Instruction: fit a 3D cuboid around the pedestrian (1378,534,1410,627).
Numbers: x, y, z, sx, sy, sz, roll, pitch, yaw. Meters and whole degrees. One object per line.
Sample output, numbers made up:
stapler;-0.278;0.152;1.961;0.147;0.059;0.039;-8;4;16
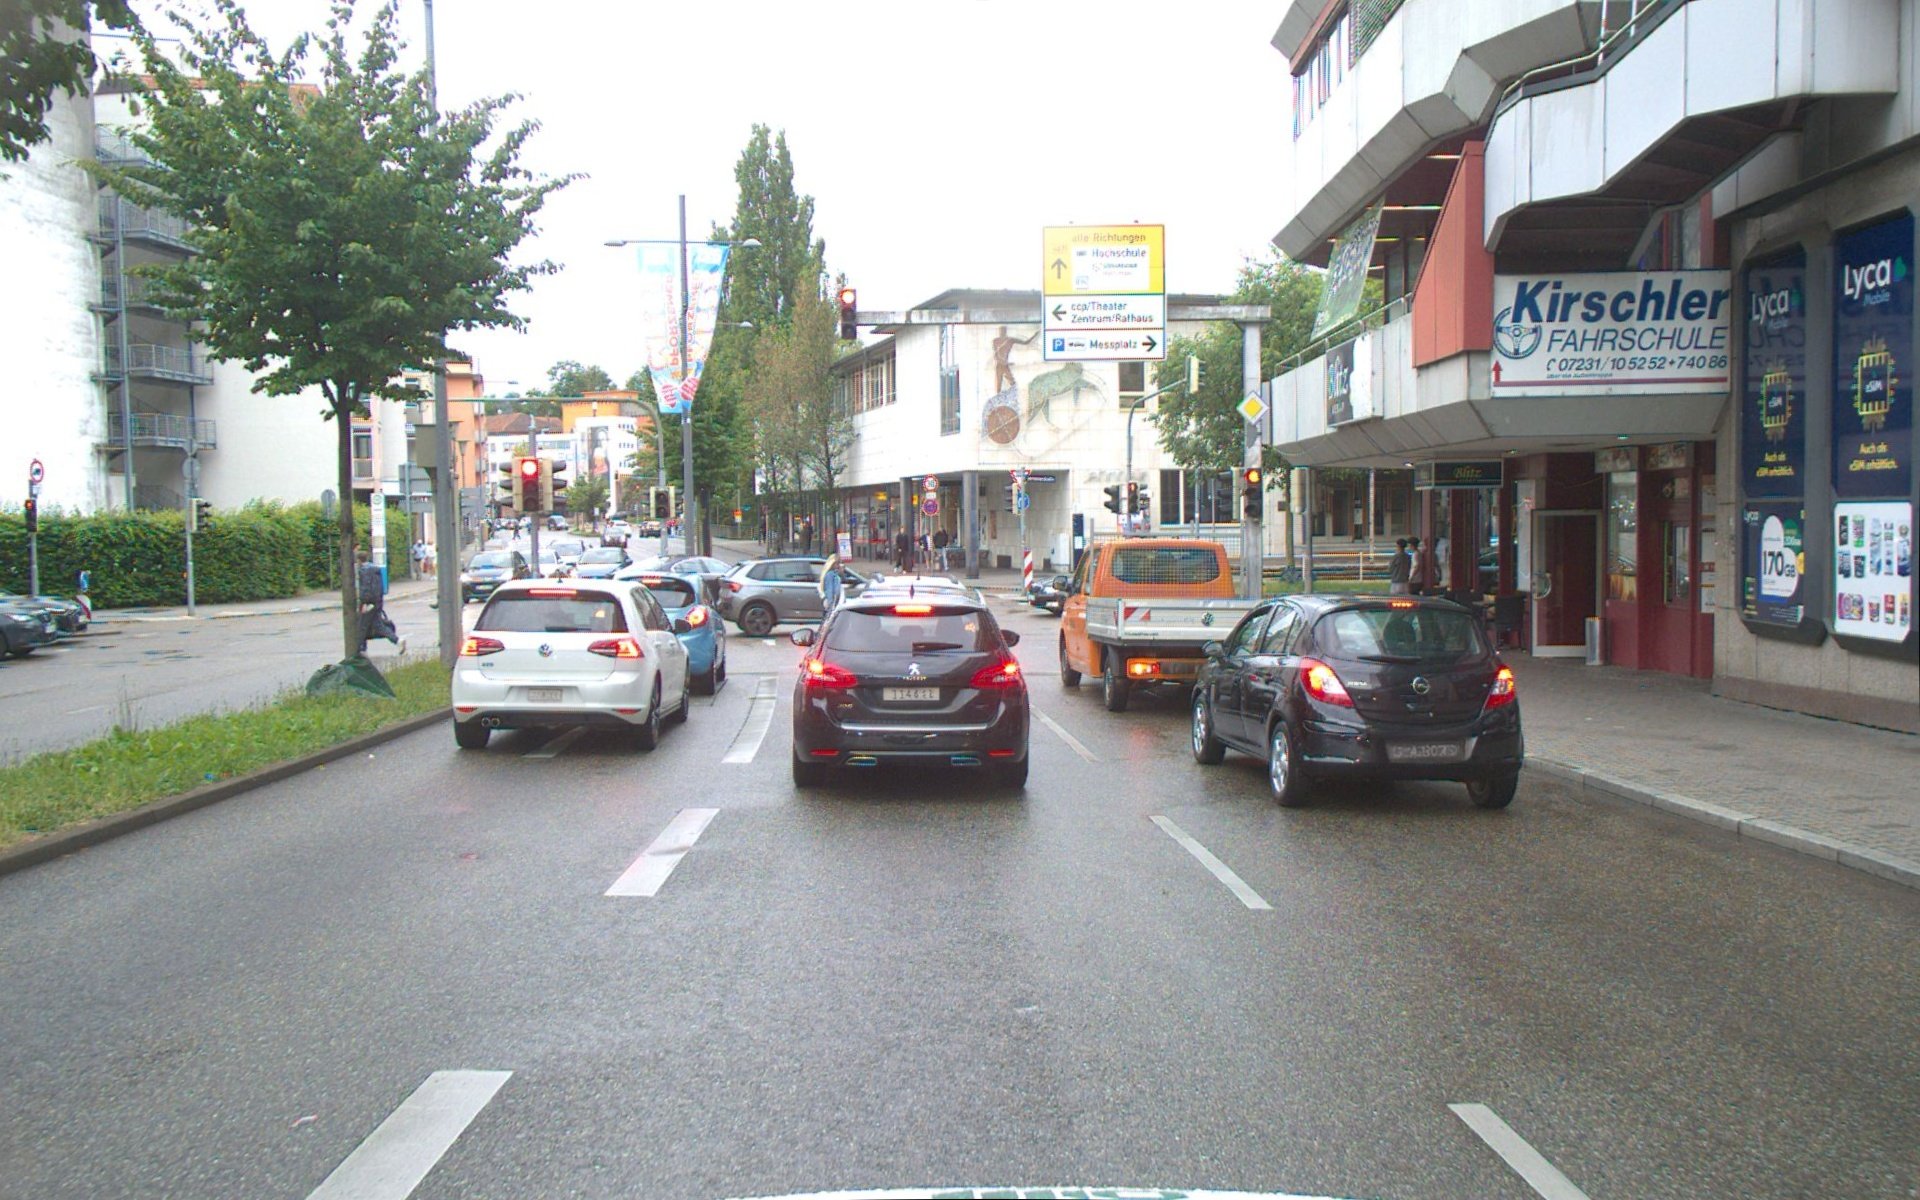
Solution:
pedestrian;8.048;-0.352;30.680;0.417;1.712;0.450;-1;-1;-3

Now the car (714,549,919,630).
car;-2.893;-0.192;33.122;3.917;1.512;1.618;1;-1;-13

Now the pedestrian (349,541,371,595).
pedestrian;-20.069;-1.060;55.345;0.528;1.778;0.564;1;-1;-6

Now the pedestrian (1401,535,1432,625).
pedestrian;8.568;-0.379;31.054;0.388;1.668;0.504;-1;-1;-1

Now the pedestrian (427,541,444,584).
pedestrian;-22.214;-1.580;70.033;0.584;1.758;0.655;1;-1;-10

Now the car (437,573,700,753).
car;-3.529;0.496;15.583;1.742;1.454;3.840;1;1;-3

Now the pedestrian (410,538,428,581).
pedestrian;-22.750;-1.688;69.587;0.584;1.758;0.655;1;-1;-10

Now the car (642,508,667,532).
car;-27.771;-7.253;150.283;1.679;1.970;3.979;1;-1;-18

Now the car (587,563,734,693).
car;-3.824;0.299;21.599;1.601;1.512;3.605;1;2;-6

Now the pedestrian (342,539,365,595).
pedestrian;-19.748;-1.069;53.867;0.529;1.778;0.745;1;-1;-10

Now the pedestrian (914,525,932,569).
pedestrian;-1.517;-2.165;67.716;0.623;1.788;0.734;1;-1;5

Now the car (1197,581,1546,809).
car;3.001;0.610;12.865;1.584;1.454;3.840;1;1;-3

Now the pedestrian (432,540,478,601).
pedestrian;-13.569;-0.775;44.446;1.041;1.606;0.683;1;-1;-6

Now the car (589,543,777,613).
car;-6.608;-0.490;39.956;1.695;1.516;4.718;0;-1;34

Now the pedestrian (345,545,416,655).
pedestrian;-9.768;0.007;27.897;0.904;1.815;0.709;1;-1;2

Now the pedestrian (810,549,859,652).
pedestrian;-2.122;0.015;27.959;0.733;1.710;0.709;1;-1;1

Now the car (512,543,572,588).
car;-14.592;-1.228;57.868;1.602;1.512;3.604;1;2;-7

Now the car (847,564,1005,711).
car;-0.411;0.359;19.546;1.662;1.512;3.793;1;2;-2

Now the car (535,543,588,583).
car;-15.657;-1.474;65.076;1.602;1.512;3.604;1;2;-7

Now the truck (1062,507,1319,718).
truck;2.609;0.066;20.091;2.134;2.210;5.018;1;2;-3

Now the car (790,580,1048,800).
car;-0.382;0.594;13.222;1.742;1.454;3.840;1;1;-3

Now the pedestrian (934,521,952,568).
pedestrian;-0.692;-2.293;68.356;0.623;1.930;0.734;1;-1;5

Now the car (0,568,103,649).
car;-20.003;0.230;33.356;4.416;1.479;1.787;-3;3;-14

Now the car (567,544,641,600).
car;-11.097;-0.842;51.808;1.710;1.607;3.996;1;-1;-4

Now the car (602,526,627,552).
car;-24.936;-4.392;119.591;1.713;1.669;3.988;1;-1;-11

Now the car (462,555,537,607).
car;-14.086;-0.619;50.750;1.543;1.512;3.607;1;2;-4

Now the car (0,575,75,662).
car;-18.852;0.414;30.105;4.416;1.479;1.787;-3;3;-14

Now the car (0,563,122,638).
car;-21.129;0.060;36.376;4.416;1.479;1.787;-3;3;-14

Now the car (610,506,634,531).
car;-30.596;-7.354;149.494;1.679;1.915;3.979;1;-1;-18
